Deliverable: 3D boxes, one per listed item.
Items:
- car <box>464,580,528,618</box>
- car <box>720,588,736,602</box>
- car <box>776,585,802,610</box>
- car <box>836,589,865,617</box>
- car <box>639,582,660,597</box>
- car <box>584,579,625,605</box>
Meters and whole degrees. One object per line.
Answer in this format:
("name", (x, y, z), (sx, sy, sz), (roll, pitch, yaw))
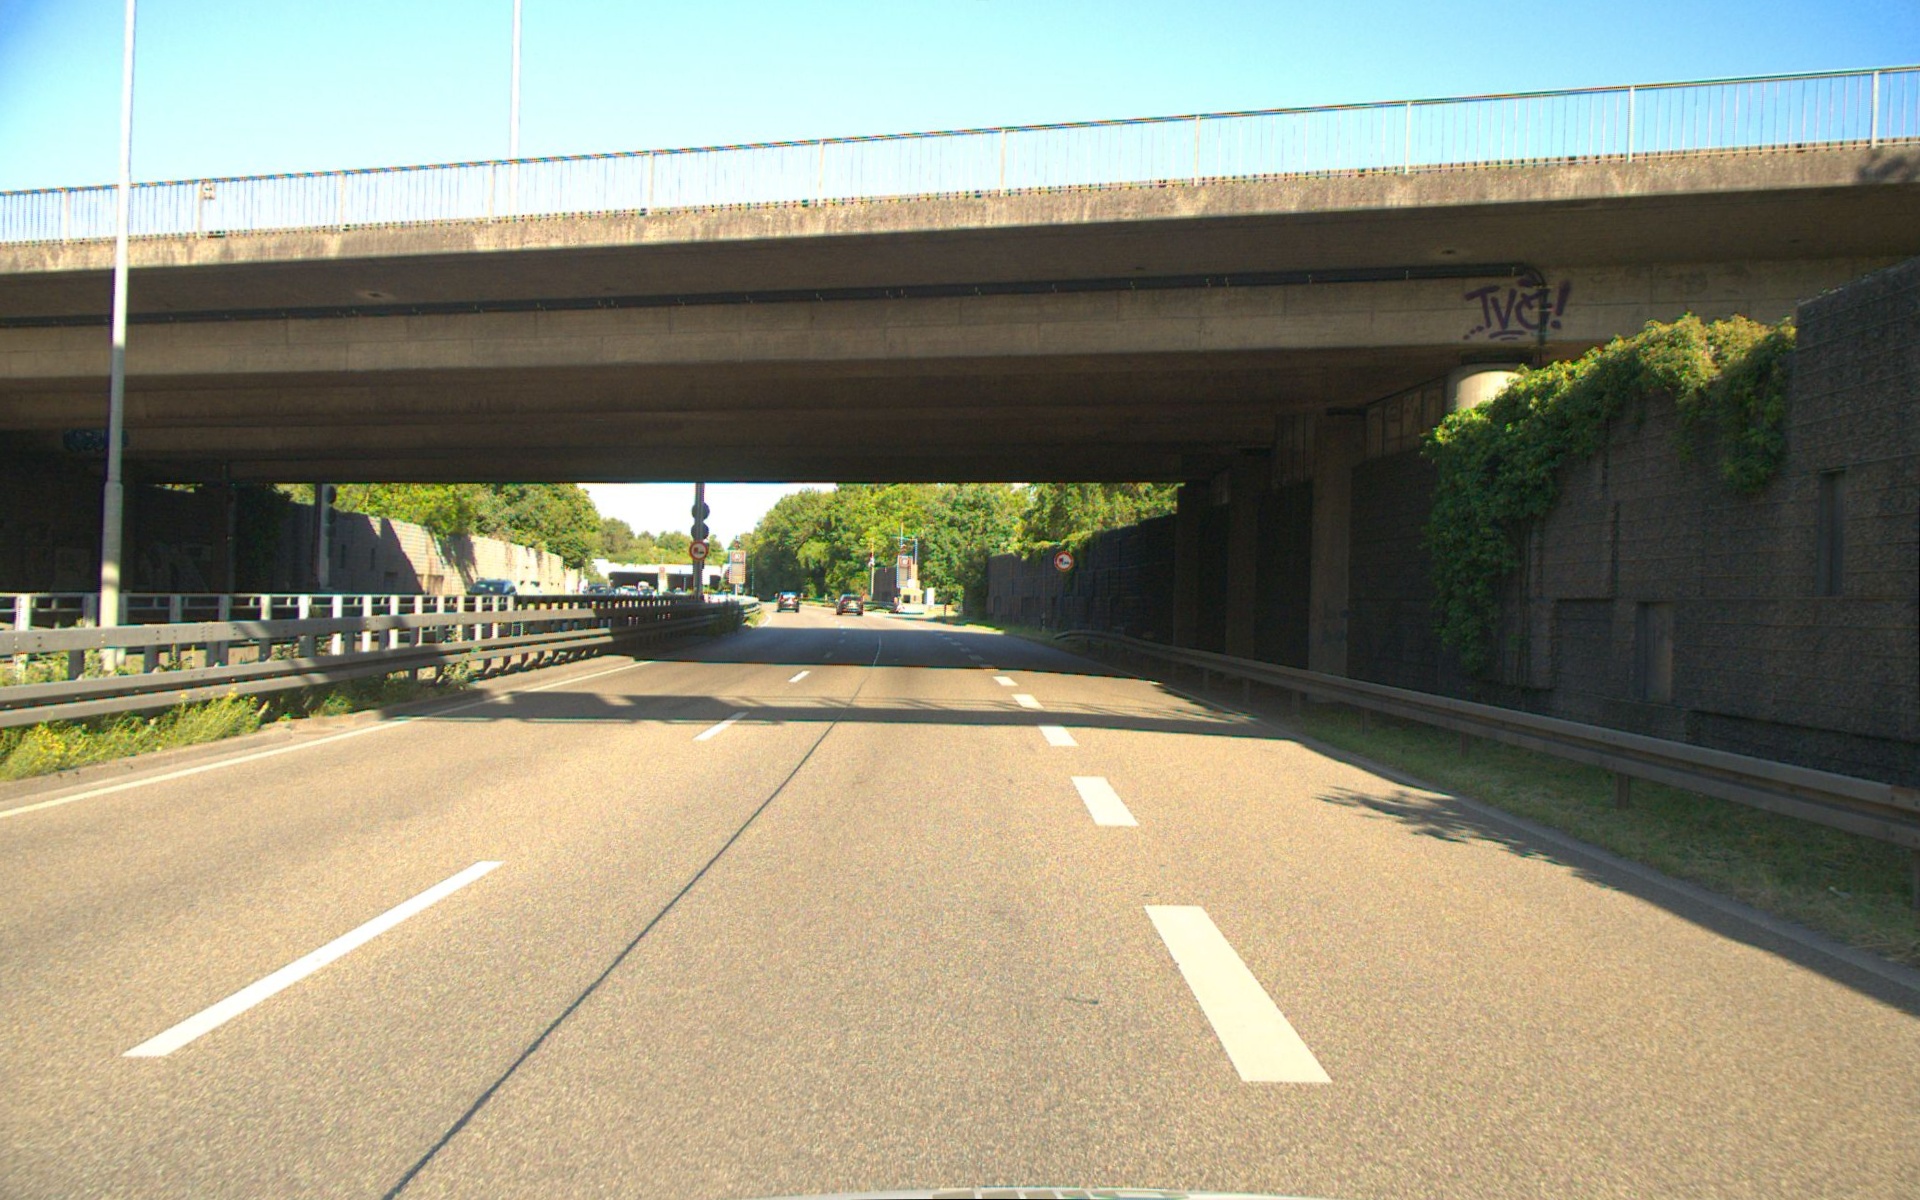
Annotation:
("car", (-21.913, -0.083, 78.300), (1.954, 1.735, 4.559), (0, 0, -3))
("car", (-36.115, -0.756, 257.199), (1.960, 1.959, 3.986), (2, 0, -14))
("car", (-13.707, -0.220, 132.672), (1.955, 1.959, 3.996), (2, 0, -5))
("car", (-7.988, 0.193, 120.362), (1.955, 1.959, 3.996), (2, 0, -5))
("car", (-35.320, -1.201, 188.344), (1.861, 1.601, 4.801), (3, 0, -7))
("car", (-23.861, -0.533, 111.158), (1.954, 1.623, 4.425), (2, 0, -3))
